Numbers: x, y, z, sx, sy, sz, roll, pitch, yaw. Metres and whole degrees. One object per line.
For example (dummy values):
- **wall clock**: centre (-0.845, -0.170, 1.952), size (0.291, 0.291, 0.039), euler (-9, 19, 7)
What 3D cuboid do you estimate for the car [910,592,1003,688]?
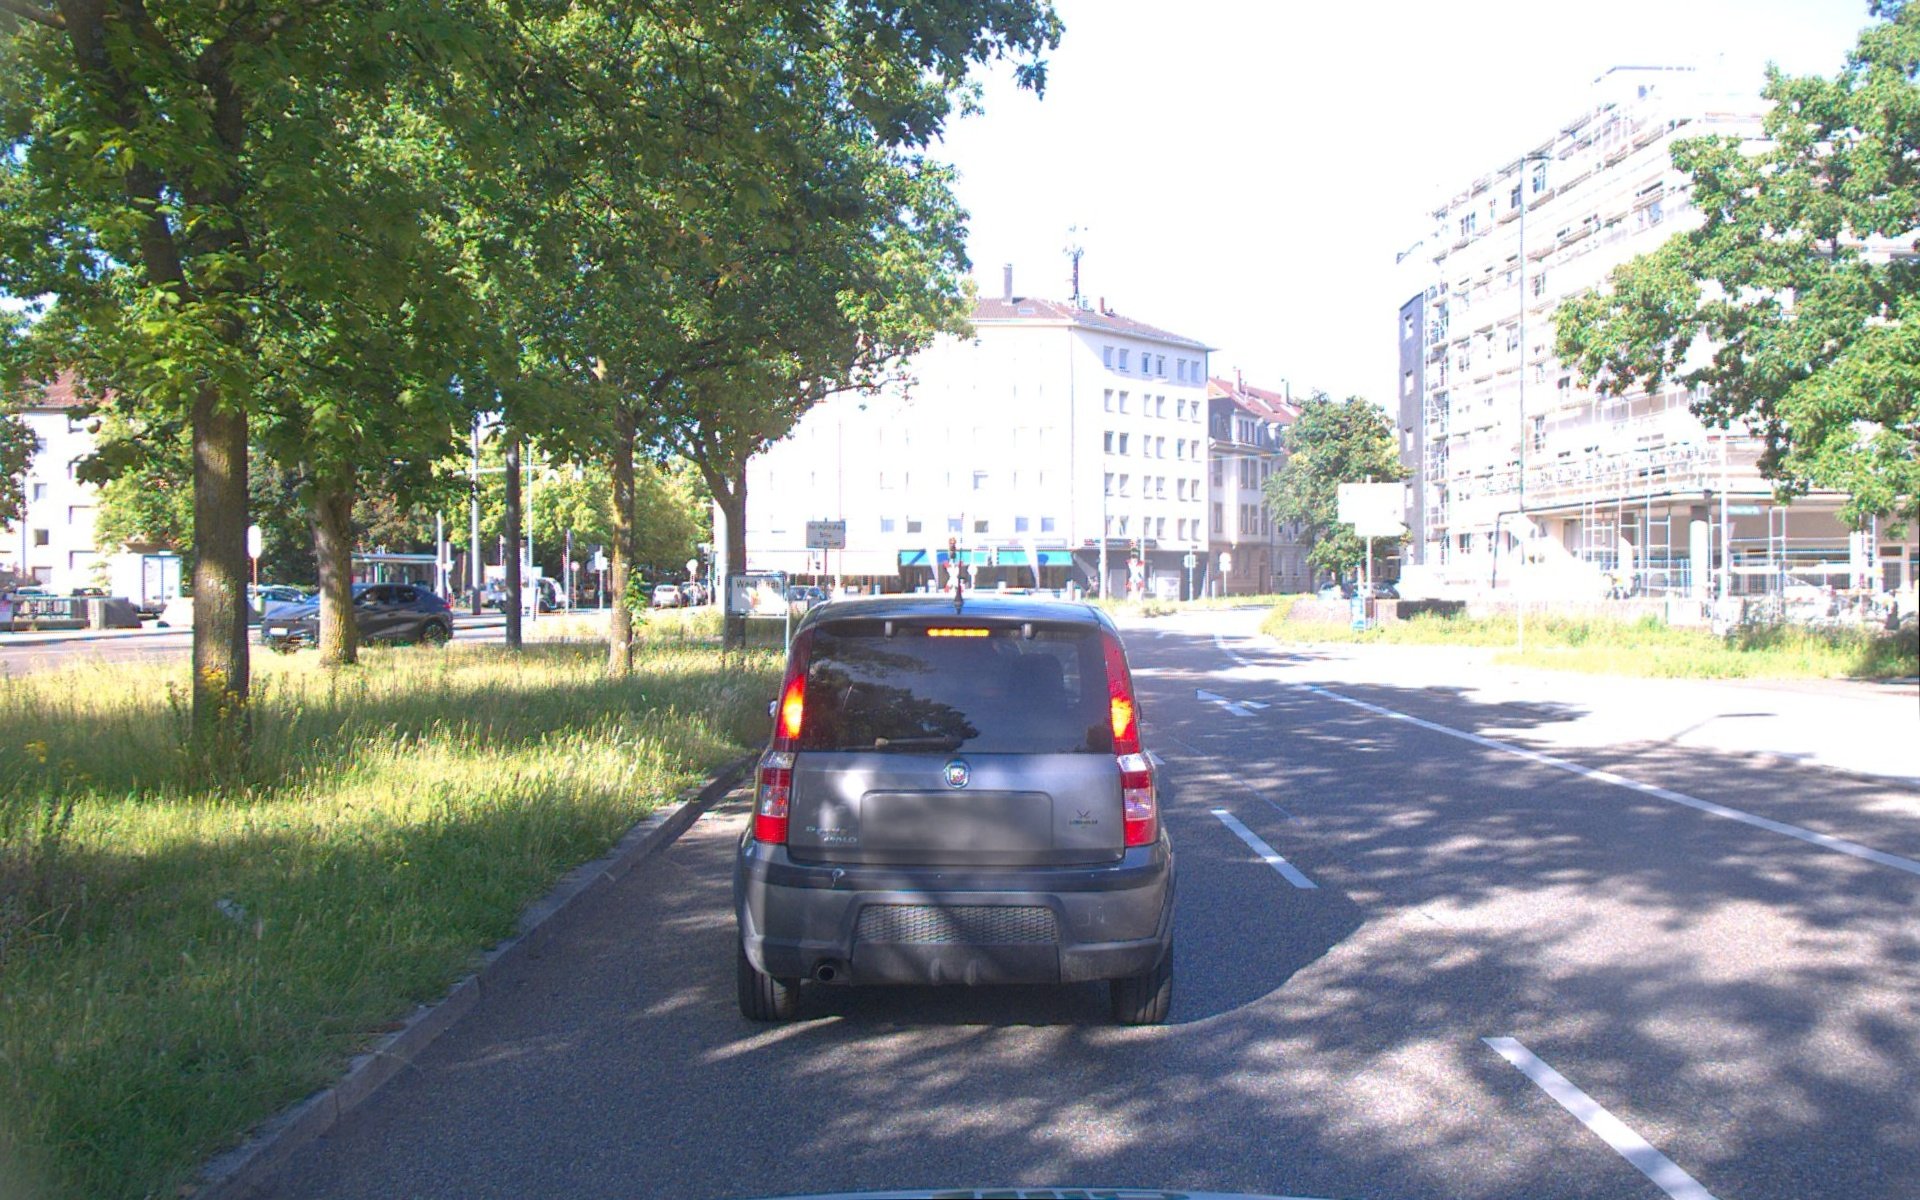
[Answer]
- **car**: centre (-0.082, 0.610, 27.274), size (1.434, 1.449, 3.381), euler (0, 1, -1)

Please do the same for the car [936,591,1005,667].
- **car**: centre (0.176, 0.557, 33.856), size (1.328, 1.475, 3.265), euler (0, 0, -1)

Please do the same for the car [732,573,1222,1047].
- **car**: centre (0.030, 0.661, 7.408), size (1.595, 1.534, 3.999), euler (0, 1, -1)

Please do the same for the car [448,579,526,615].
- **car**: centre (-27.932, -0.181, 97.746), size (4.093, 2.049, 1.930), euler (0, 0, -3)

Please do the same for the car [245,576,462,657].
- **car**: centre (-13.435, 0.318, 36.923), size (1.792, 1.676, 4.452), euler (0, 1, 30)

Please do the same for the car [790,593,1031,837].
- **car**: centre (-0.320, 0.682, 11.623), size (1.434, 1.425, 3.393), euler (0, 1, -1)

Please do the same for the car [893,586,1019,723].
- **car**: centre (-0.072, 0.606, 20.608), size (1.434, 1.534, 3.504), euler (0, 1, -1)

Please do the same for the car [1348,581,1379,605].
- **car**: centre (23.007, -0.394, 94.239), size (1.495, 1.337, 3.289), euler (0, 1, 17)

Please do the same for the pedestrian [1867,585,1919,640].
- **pedestrian**: centre (25.421, 0.339, 45.036), size (0.881, 1.472, 0.958), euler (0, 0, -26)

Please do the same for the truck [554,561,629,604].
- **truck**: centre (-28.362, -1.352, 127.363), size (5.371, 3.224, 2.341), euler (0, 0, 28)

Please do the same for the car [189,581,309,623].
- **car**: centre (-29.957, 0.051, 69.778), size (1.961, 1.713, 4.302), euler (0, 1, 38)

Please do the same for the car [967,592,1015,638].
- **car**: centre (0.916, 0.436, 49.602), size (1.328, 1.304, 2.875), euler (0, 1, -1)

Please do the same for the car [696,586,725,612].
- **car**: centre (-20.042, -0.110, 132.999), size (1.954, 2.049, 3.996), euler (0, 1, -5)

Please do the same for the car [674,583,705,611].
- **car**: centre (-20.157, -0.264, 123.279), size (1.954, 2.049, 3.996), euler (0, 1, -5)

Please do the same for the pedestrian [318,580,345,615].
- **pedestrian**: centre (-29.334, -0.124, 77.202), size (0.904, 1.636, 0.794), euler (0, 0, 38)

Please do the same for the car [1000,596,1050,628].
- **car**: centre (2.283, 0.403, 57.698), size (1.118, 1.083, 2.723), euler (0, 1, 17)

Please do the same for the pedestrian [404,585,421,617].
- **pedestrian**: centre (-24.770, 0.043, 74.883), size (0.407, 1.415, 0.626), euler (0, 0, 26)

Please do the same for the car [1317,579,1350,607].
- **car**: centre (20.502, -0.392, 90.708), size (1.646, 1.475, 3.574), euler (0, 1, 15)

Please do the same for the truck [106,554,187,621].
- **truck**: centre (-35.746, -0.550, 72.684), size (3.932, 2.854, 1.987), euler (0, 1, 44)
